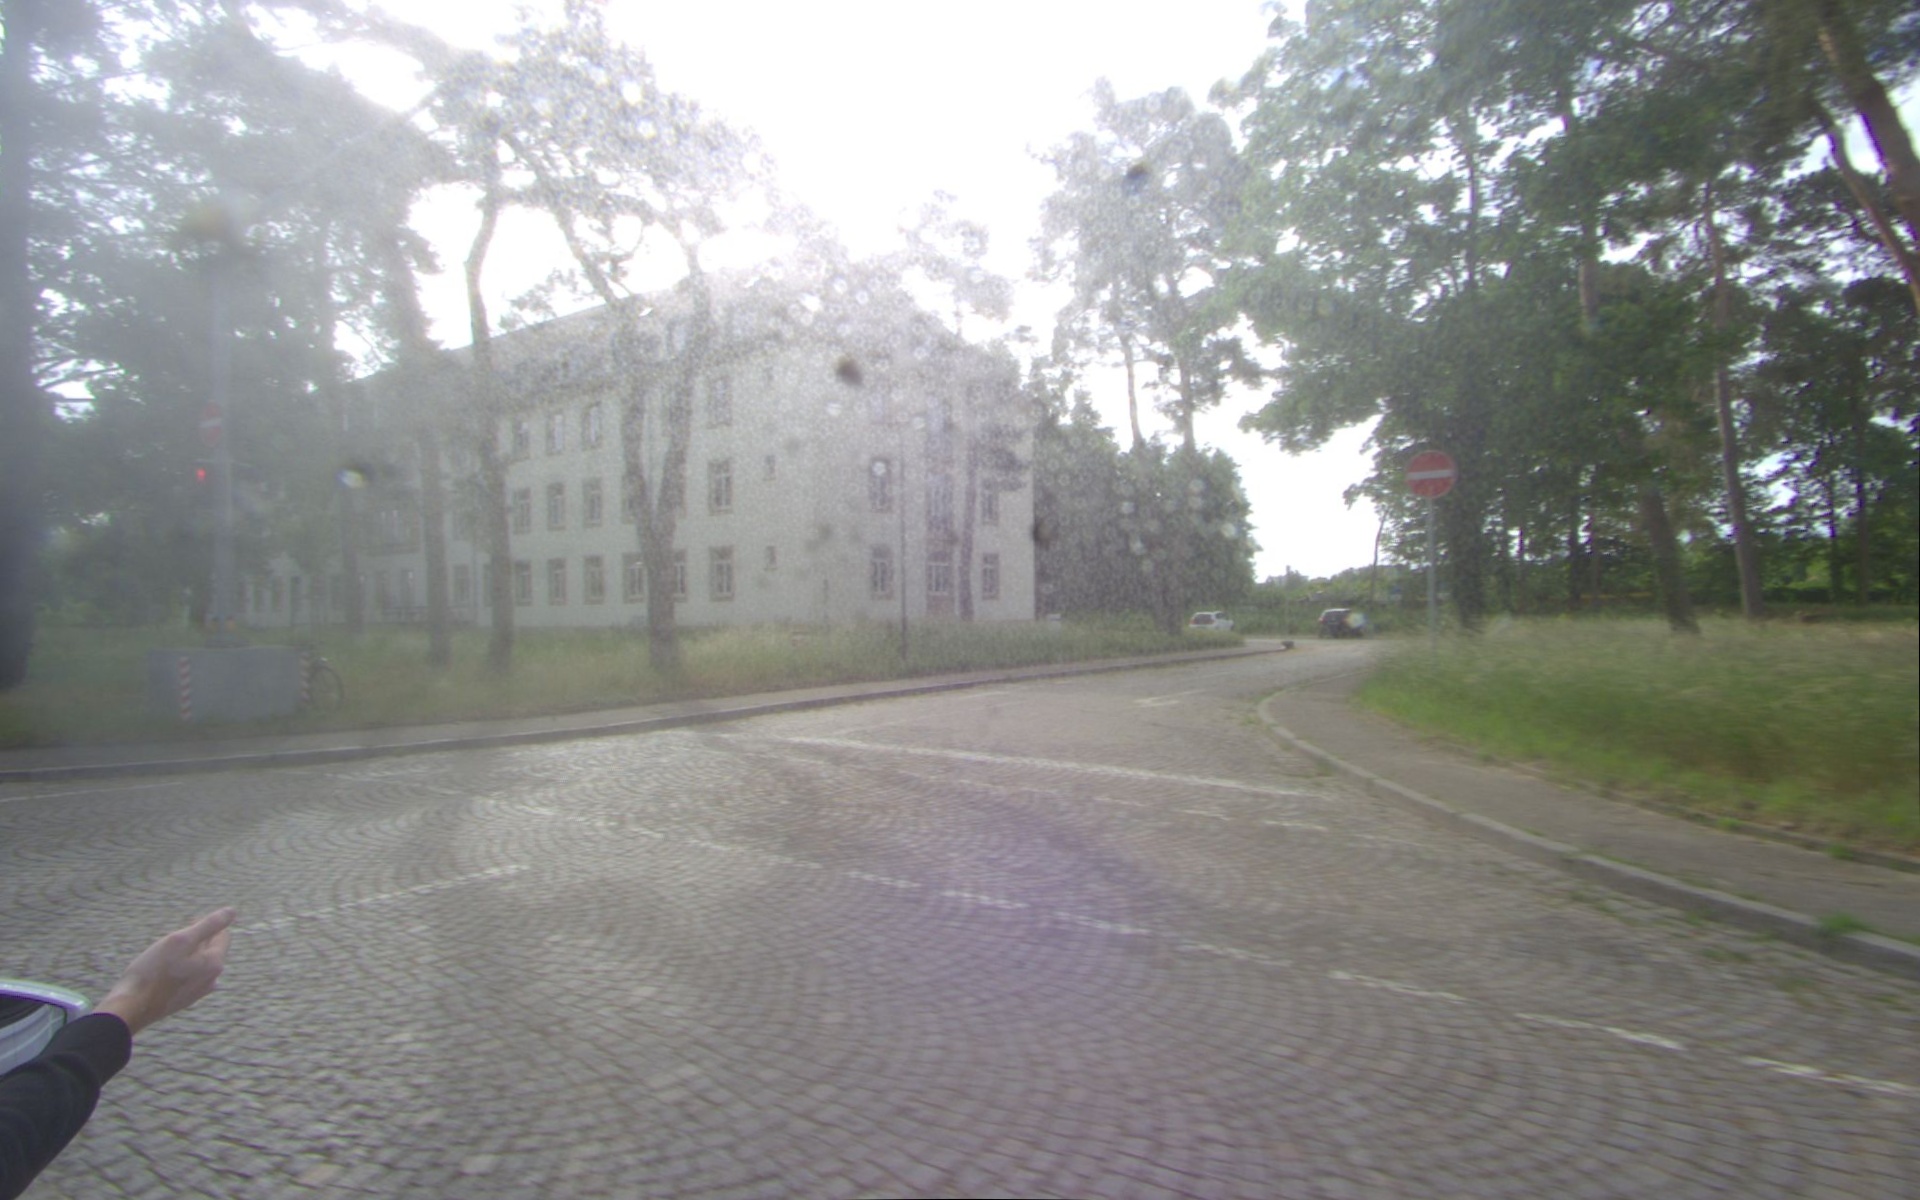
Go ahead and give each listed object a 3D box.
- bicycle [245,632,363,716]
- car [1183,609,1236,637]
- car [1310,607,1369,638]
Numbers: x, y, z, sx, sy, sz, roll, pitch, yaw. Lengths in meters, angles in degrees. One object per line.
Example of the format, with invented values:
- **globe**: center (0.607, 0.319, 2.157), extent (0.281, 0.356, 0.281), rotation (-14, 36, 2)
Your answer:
- **bicycle**: center (-9.329, 1.016, 14.229), extent (1.808, 1.077, 0.642), rotation (-1, 3, 32)
- **car**: center (14.602, 1.341, 58.447), extent (1.750, 1.553, 3.670), rotation (-1, -1, 36)
- **car**: center (20.313, 1.191, 53.460), extent (1.974, 1.553, 3.974), rotation (-1, -1, 36)
